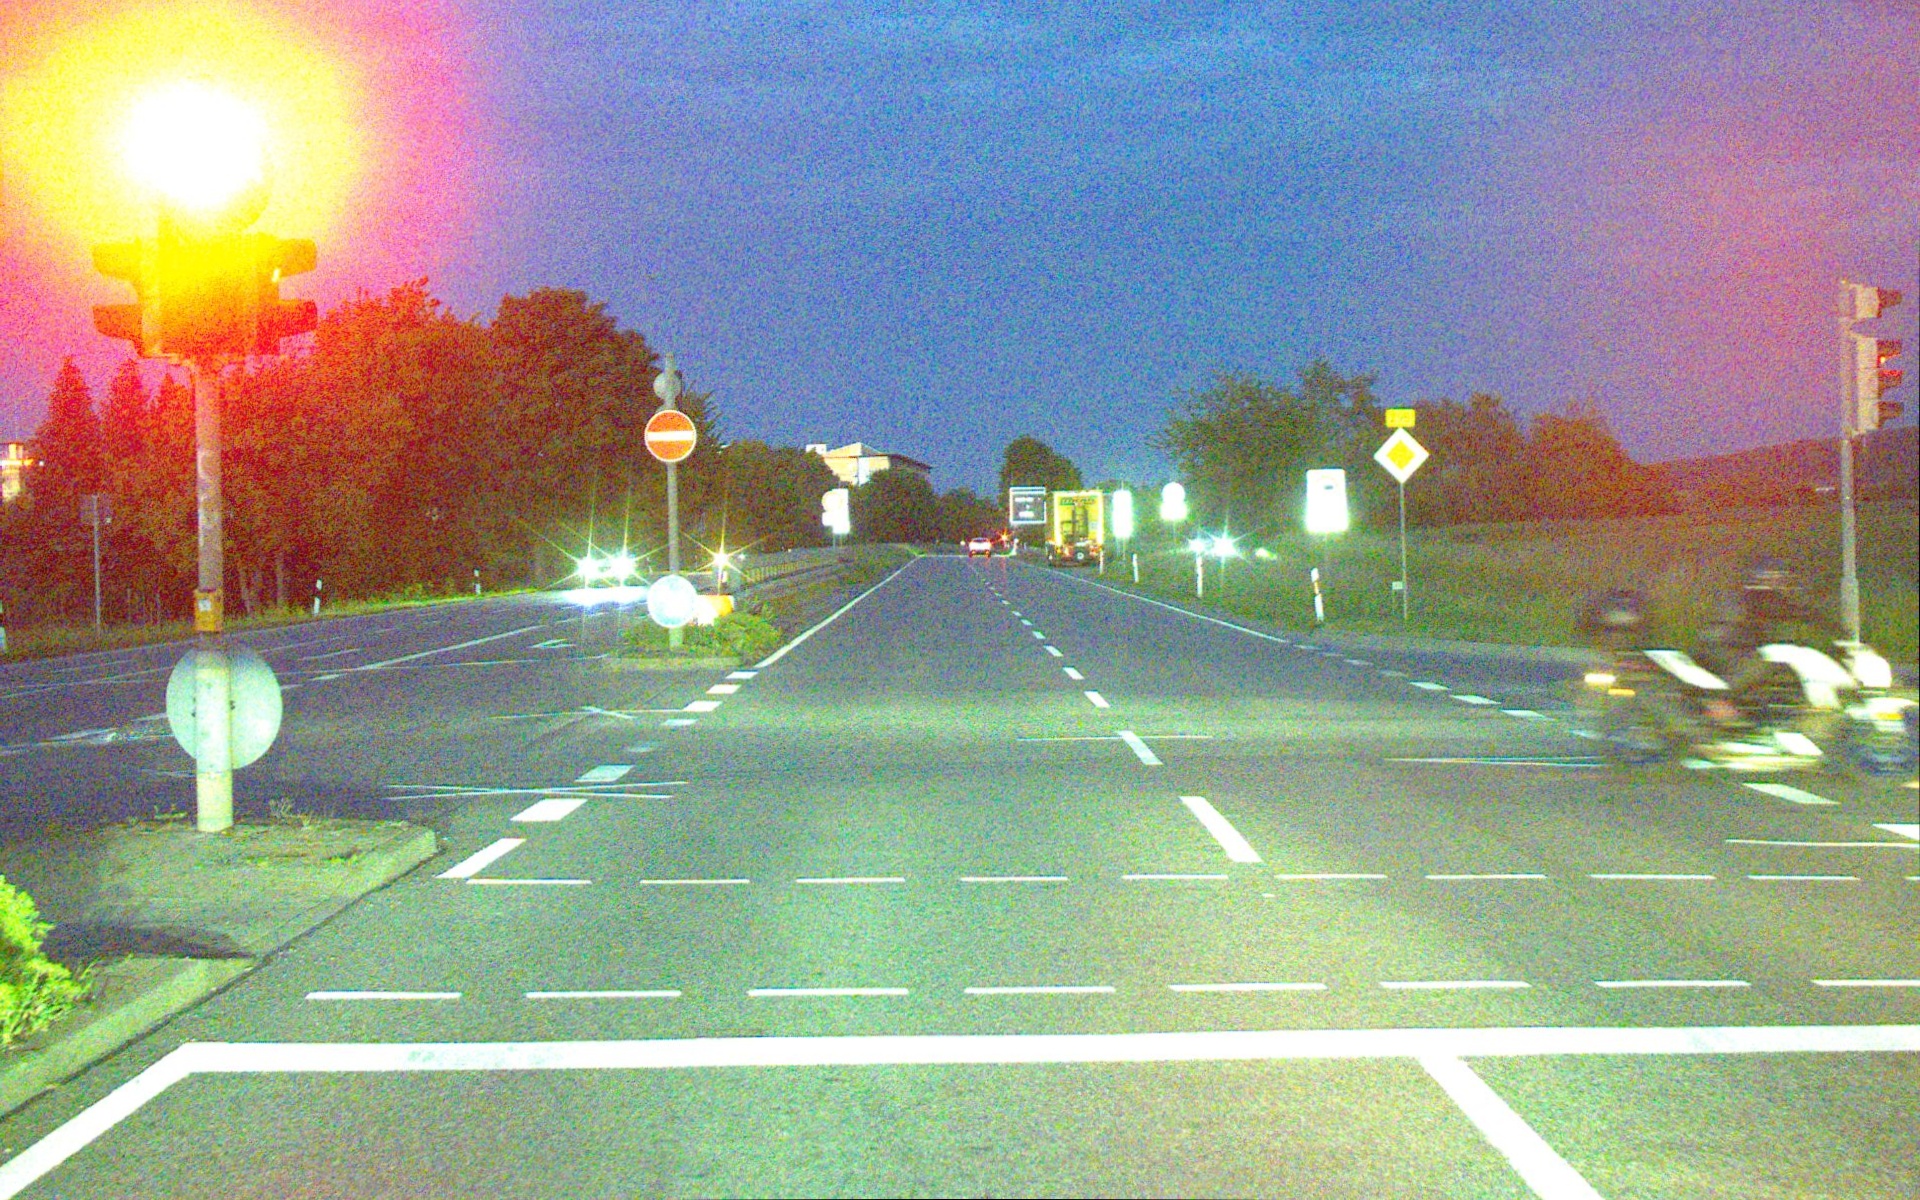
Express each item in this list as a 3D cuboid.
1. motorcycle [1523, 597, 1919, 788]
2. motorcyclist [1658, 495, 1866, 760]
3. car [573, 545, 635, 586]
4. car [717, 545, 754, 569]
[{"bbox_3d":[4.836,0.554,21.153,2.504,1.095,0.981,-1,1,29],"label":"motorcycle"},{"bbox_3d":[4.981,0.155,21.311,0.971,1.579,1.139,-1,1,28],"label":"motorcyclist"},{"bbox_3d":[-13.801,-1.344,133.568,1.993,1.514,4.298,-1,1,-1],"label":"car"},{"bbox_3d":[-13.825,-2.649,211.907,1.993,1.382,4.000,-1,1,-1],"label":"car"}]
